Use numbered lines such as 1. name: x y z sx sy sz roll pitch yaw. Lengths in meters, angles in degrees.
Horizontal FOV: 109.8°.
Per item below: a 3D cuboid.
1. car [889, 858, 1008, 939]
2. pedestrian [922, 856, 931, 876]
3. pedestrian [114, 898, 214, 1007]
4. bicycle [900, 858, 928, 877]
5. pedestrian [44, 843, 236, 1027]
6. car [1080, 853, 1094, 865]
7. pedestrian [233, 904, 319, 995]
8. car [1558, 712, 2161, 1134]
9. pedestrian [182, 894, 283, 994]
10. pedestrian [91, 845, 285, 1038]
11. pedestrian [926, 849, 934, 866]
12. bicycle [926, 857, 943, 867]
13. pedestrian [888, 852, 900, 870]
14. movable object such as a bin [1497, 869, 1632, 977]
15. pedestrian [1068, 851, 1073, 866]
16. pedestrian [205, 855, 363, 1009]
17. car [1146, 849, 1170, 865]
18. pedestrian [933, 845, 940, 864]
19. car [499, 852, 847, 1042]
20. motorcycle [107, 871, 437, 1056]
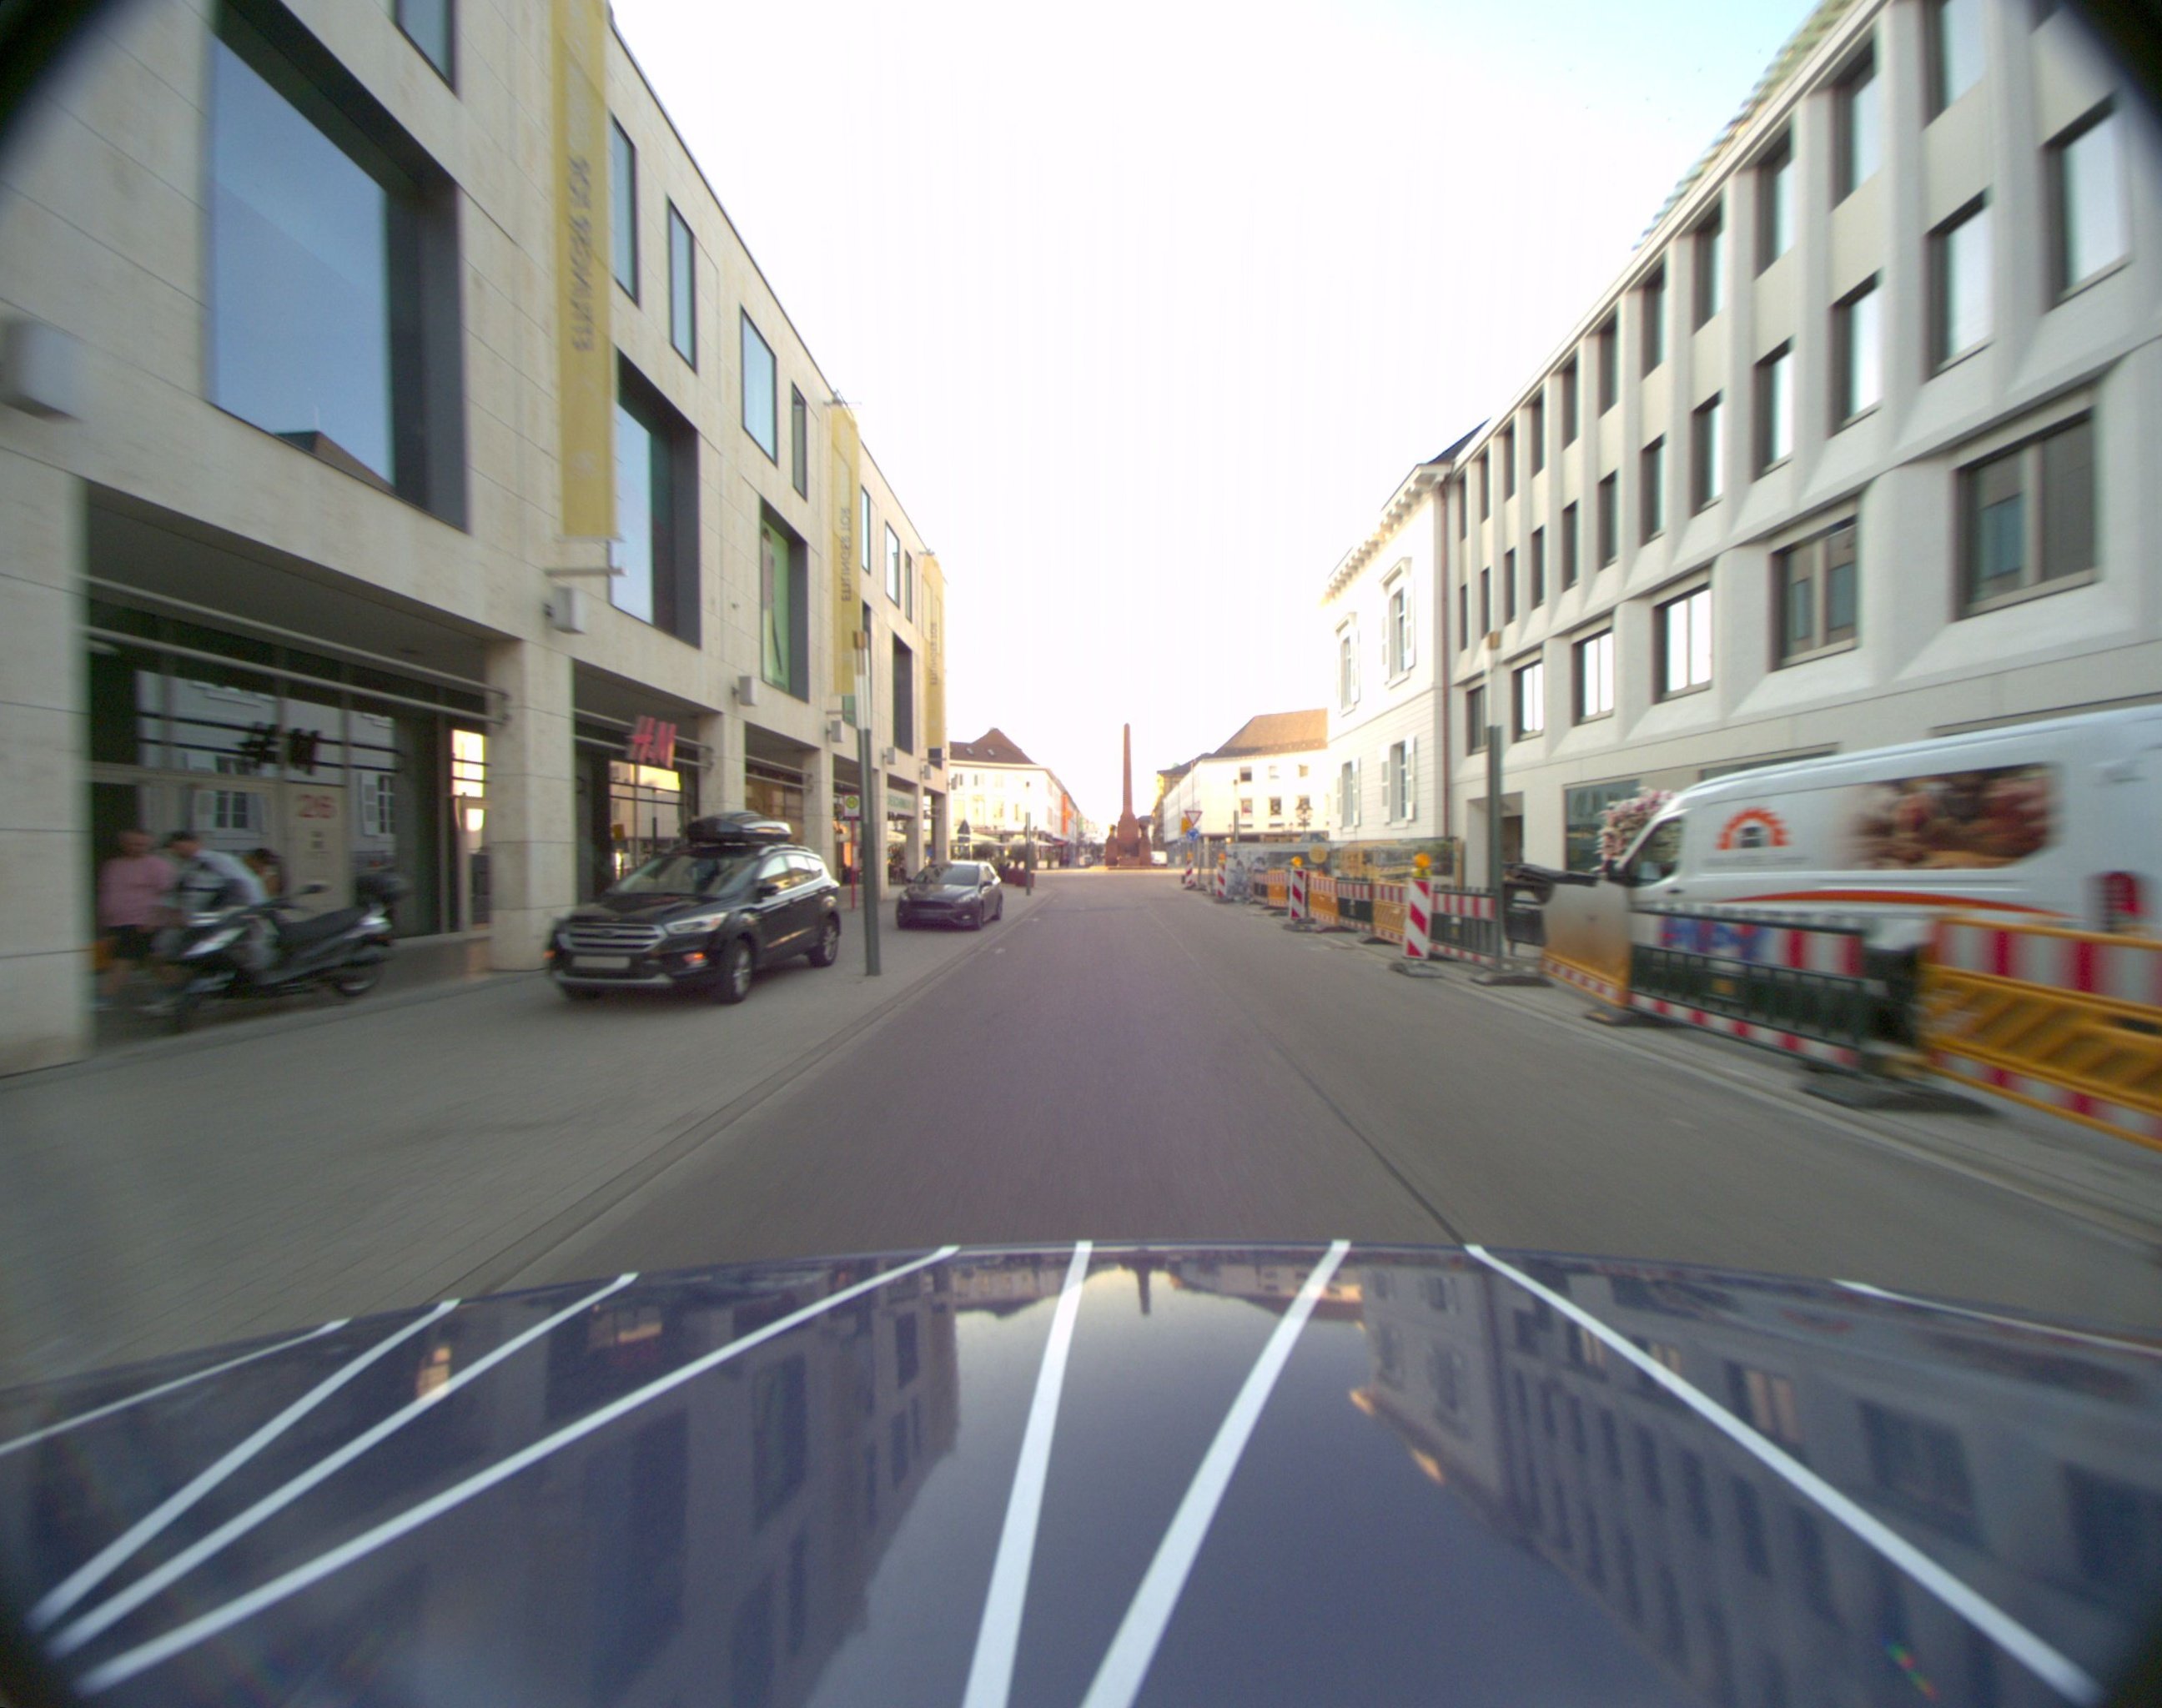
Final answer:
1. car: -2.872 0.915 17.428 1.799 1.482 4.193 3 1 2
2. pedestrian: -15.009 1.151 73.827 0.644 1.917 0.629 0 1 26
3. pedestrian: -9.709 1.027 8.060 0.421 1.090 0.526 0 -1 1
4. bicycle: -10.030 0.838 45.708 0.606 1.121 1.910 0 -1 27
5. pedestrian: -9.080 0.749 7.374 0.766 1.671 0.877 0 -1 1
6. car: 0.767 0.644 98.649 1.781 1.416 3.961 -1 1 1
7. pedestrian: -9.183 1.080 8.681 0.421 0.980 0.526 0 -1 1
8. car: 7.468 0.361 7.291 2.178 2.456 5.999 -1 1 2
9. pedestrian: -9.773 1.015 8.773 0.488 1.090 0.602 0 -1 1
10. pedestrian: -8.238 0.771 7.059 0.766 1.671 0.877 0 -1 1
11. pedestrian: -15.132 0.363 76.152 0.619 1.667 0.734 -1 1 4
12. bicycle: -14.527 0.764 75.377 0.473 0.928 1.680 0 1 39
13. pedestrian: -15.836 0.591 64.326 0.721 1.439 0.694 0 1 26
14. movable object such as a bin: 7.218 0.981 11.427 1.047 1.458 1.392 -1 1 -10
15. pedestrian: -1.228 0.515 90.285 0.604 1.691 0.713 -1 1 -3
16. pedestrian: -8.484 0.801 8.130 0.766 1.558 0.877 0 -1 1
17. car: 9.136 0.310 90.634 2.021 1.815 4.458 -1 1 -5
18. pedestrian: -14.340 0.040 75.299 0.508 1.808 0.719 -1 1 4
19. car: -4.376 0.845 8.996 1.772 1.628 4.057 3 1 2
20. motorcycle: -7.383 0.901 7.147 0.694 1.408 2.136 -1 1 4
